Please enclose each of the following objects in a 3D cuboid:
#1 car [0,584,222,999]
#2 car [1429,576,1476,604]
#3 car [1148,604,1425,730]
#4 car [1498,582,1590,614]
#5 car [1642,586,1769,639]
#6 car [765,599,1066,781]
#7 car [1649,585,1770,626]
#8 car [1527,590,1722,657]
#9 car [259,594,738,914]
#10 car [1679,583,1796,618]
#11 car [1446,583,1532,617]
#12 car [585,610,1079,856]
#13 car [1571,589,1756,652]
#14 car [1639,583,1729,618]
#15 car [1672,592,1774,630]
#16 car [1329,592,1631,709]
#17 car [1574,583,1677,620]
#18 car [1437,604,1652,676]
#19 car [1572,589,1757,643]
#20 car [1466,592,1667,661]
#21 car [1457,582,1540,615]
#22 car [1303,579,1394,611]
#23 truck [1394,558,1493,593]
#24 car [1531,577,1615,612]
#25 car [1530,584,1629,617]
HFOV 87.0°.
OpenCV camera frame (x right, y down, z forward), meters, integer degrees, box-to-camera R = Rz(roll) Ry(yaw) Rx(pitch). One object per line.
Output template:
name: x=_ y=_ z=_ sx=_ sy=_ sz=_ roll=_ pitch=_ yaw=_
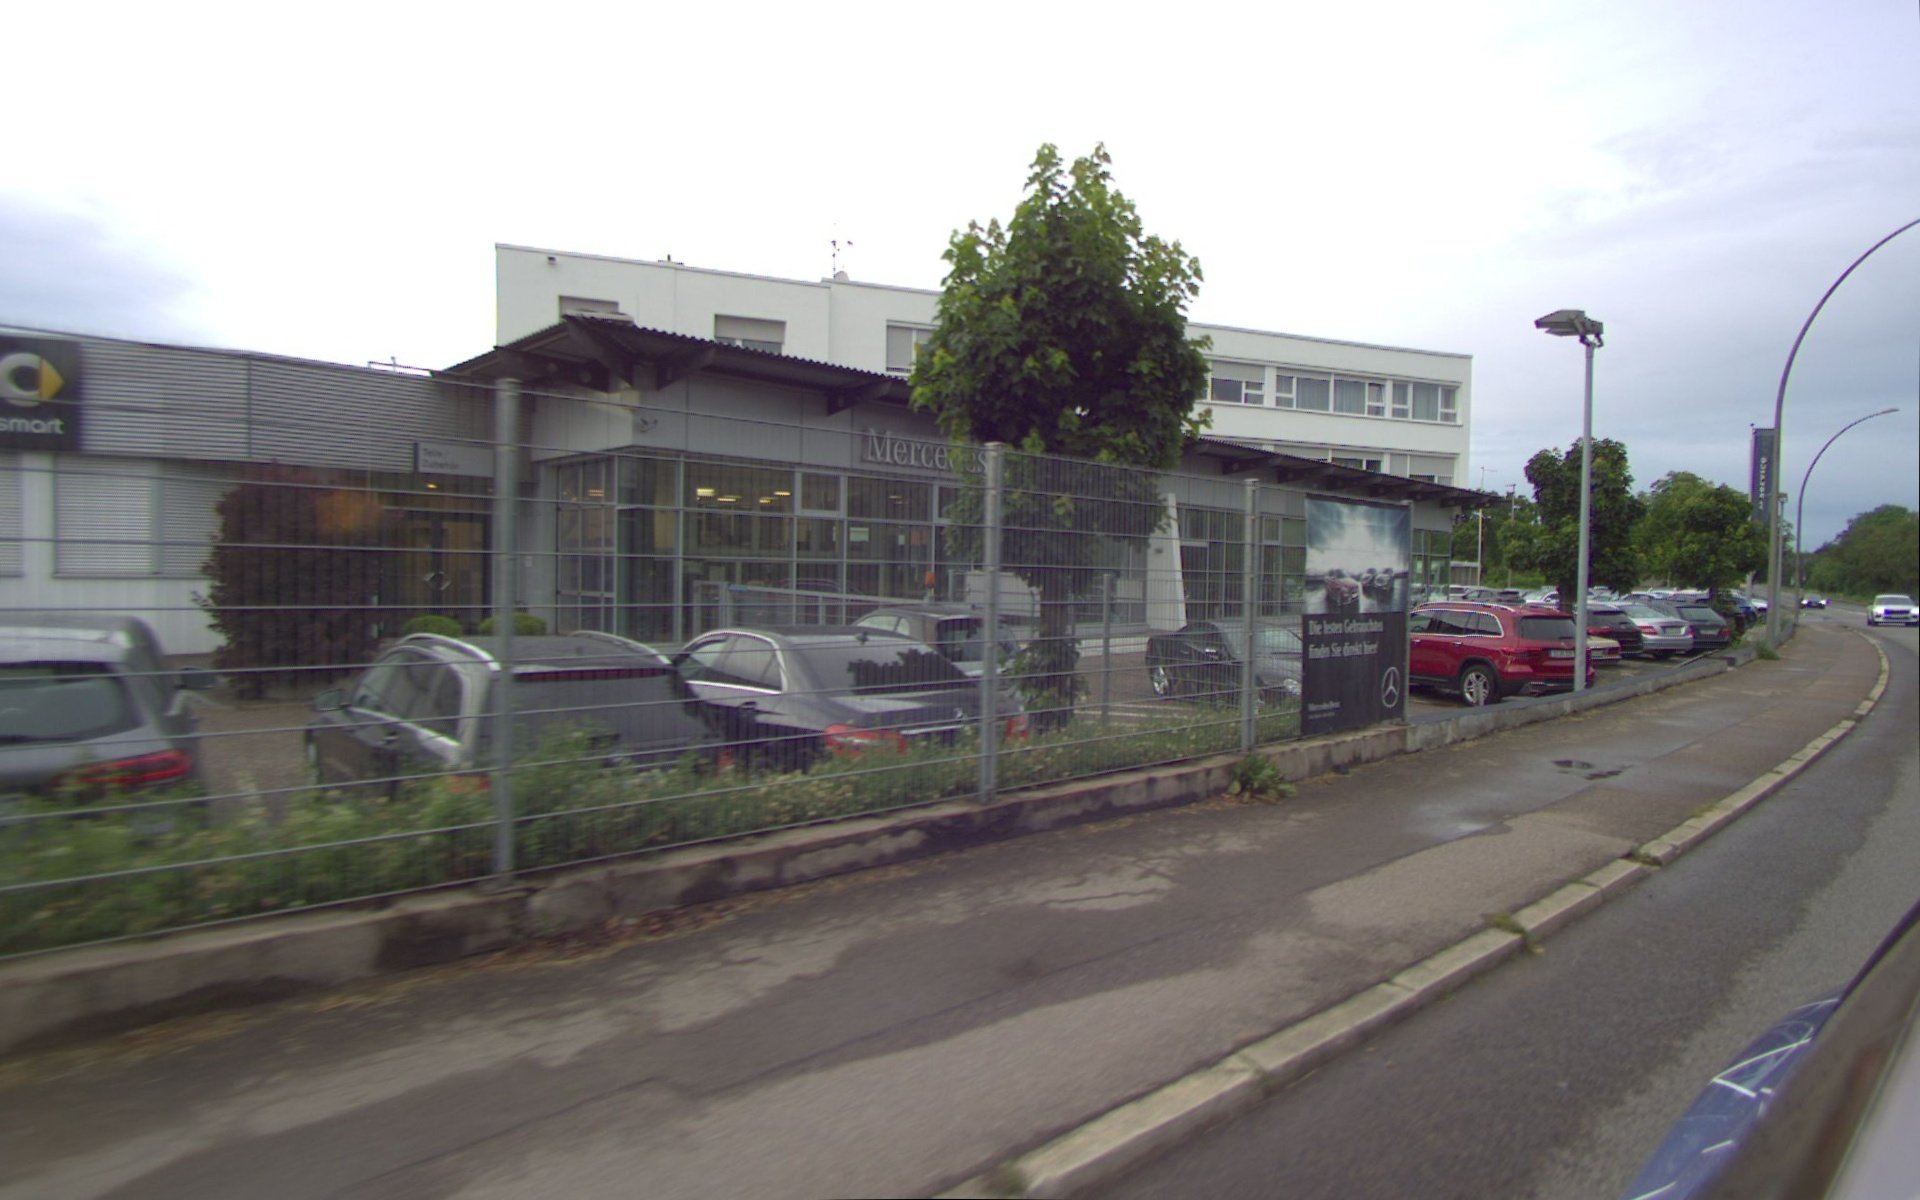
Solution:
car: x=-5.297 y=0.796 z=5.451 sx=1.933 sy=1.618 sz=4.182 roll=-2 pitch=0 yaw=-39
car: x=29.239 y=-0.612 z=60.214 sx=1.746 sy=1.571 sz=3.436 roll=2 pitch=1 yaw=13
car: x=4.527 y=0.844 z=14.763 sx=1.772 sy=1.459 sz=4.174 roll=1 pitch=1 yaw=-17
car: x=30.228 y=-0.114 z=52.450 sx=3.916 sy=1.564 sz=1.908 roll=0 pitch=1 yaw=-16
car: x=25.755 y=0.373 z=35.173 sx=1.814 sy=1.628 sz=4.533 roll=2 pitch=1 yaw=12
car: x=-0.537 y=0.818 z=10.856 sx=1.966 sy=1.462 sz=2.724 roll=-2 pitch=4 yaw=-41
car: x=32.845 y=0.221 z=44.382 sx=4.275 sy=1.652 sz=1.848 roll=1 pitch=3 yaw=-13
car: x=17.337 y=0.548 z=26.689 sx=1.799 sy=1.485 sz=4.184 roll=0 pitch=2 yaw=-13
car: x=-3.217 y=0.733 z=6.603 sx=1.568 sy=1.426 sz=3.988 roll=-2 pitch=0 yaw=-44
car: x=39.762 y=0.003 z=51.868 sx=4.350 sy=1.673 sz=1.925 roll=1 pitch=1 yaw=6
car: x=28.791 y=-0.002 z=55.065 sx=3.904 sy=1.662 sz=1.776 roll=-3 pitch=1 yaw=-14
car: x=-1.247 y=0.827 z=8.185 sx=1.966 sy=1.387 sz=4.112 roll=-2 pitch=0 yaw=-42
car: x=19.372 y=0.528 z=28.100 sx=1.860 sy=1.575 sz=4.007 roll=-2 pitch=0 yaw=-10
car: x=35.745 y=-0.001 z=50.006 sx=3.484 sy=1.619 sz=1.668 roll=1 pitch=2 yaw=-12
car: x=35.719 y=0.514 z=47.382 sx=3.735 sy=1.619 sz=1.736 roll=1 pitch=2 yaw=-12
car: x=8.831 y=0.741 z=17.758 sx=1.958 sy=1.683 sz=4.708 roll=-2 pitch=1 yaw=-17
car: x=30.742 y=0.076 z=46.751 sx=4.091 sy=1.619 sz=1.736 roll=1 pitch=2 yaw=-18
car: x=13.226 y=0.835 z=23.225 sx=1.699 sy=1.317 sz=4.245 roll=-2 pitch=2 yaw=-17
car: x=21.410 y=0.440 z=30.993 sx=1.894 sy=1.498 sz=4.453 roll=0 pitch=1 yaw=-15
car: x=14.930 y=0.613 z=25.178 sx=1.934 sy=1.511 sz=3.977 roll=-2 pitch=0 yaw=-17
car: x=26.759 y=-0.106 z=50.418 sx=1.743 sy=1.496 sz=3.571 roll=1 pitch=2 yaw=-12
car: x=20.011 y=-0.295 z=52.283 sx=1.958 sy=1.460 sz=4.421 roll=2 pitch=1 yaw=-19
truck: x=39.052 y=-1.993 z=81.726 sx=8.304 sy=2.656 sz=2.792 roll=-2 pitch=0 yaw=-28
car: x=33.891 y=-0.294 z=55.971 sx=3.917 sy=1.742 sz=1.682 roll=-3 pitch=1 yaw=-14
car: x=30.321 y=0.003 z=49.558 sx=3.916 sy=1.564 sz=1.908 roll=0 pitch=1 yaw=-14
